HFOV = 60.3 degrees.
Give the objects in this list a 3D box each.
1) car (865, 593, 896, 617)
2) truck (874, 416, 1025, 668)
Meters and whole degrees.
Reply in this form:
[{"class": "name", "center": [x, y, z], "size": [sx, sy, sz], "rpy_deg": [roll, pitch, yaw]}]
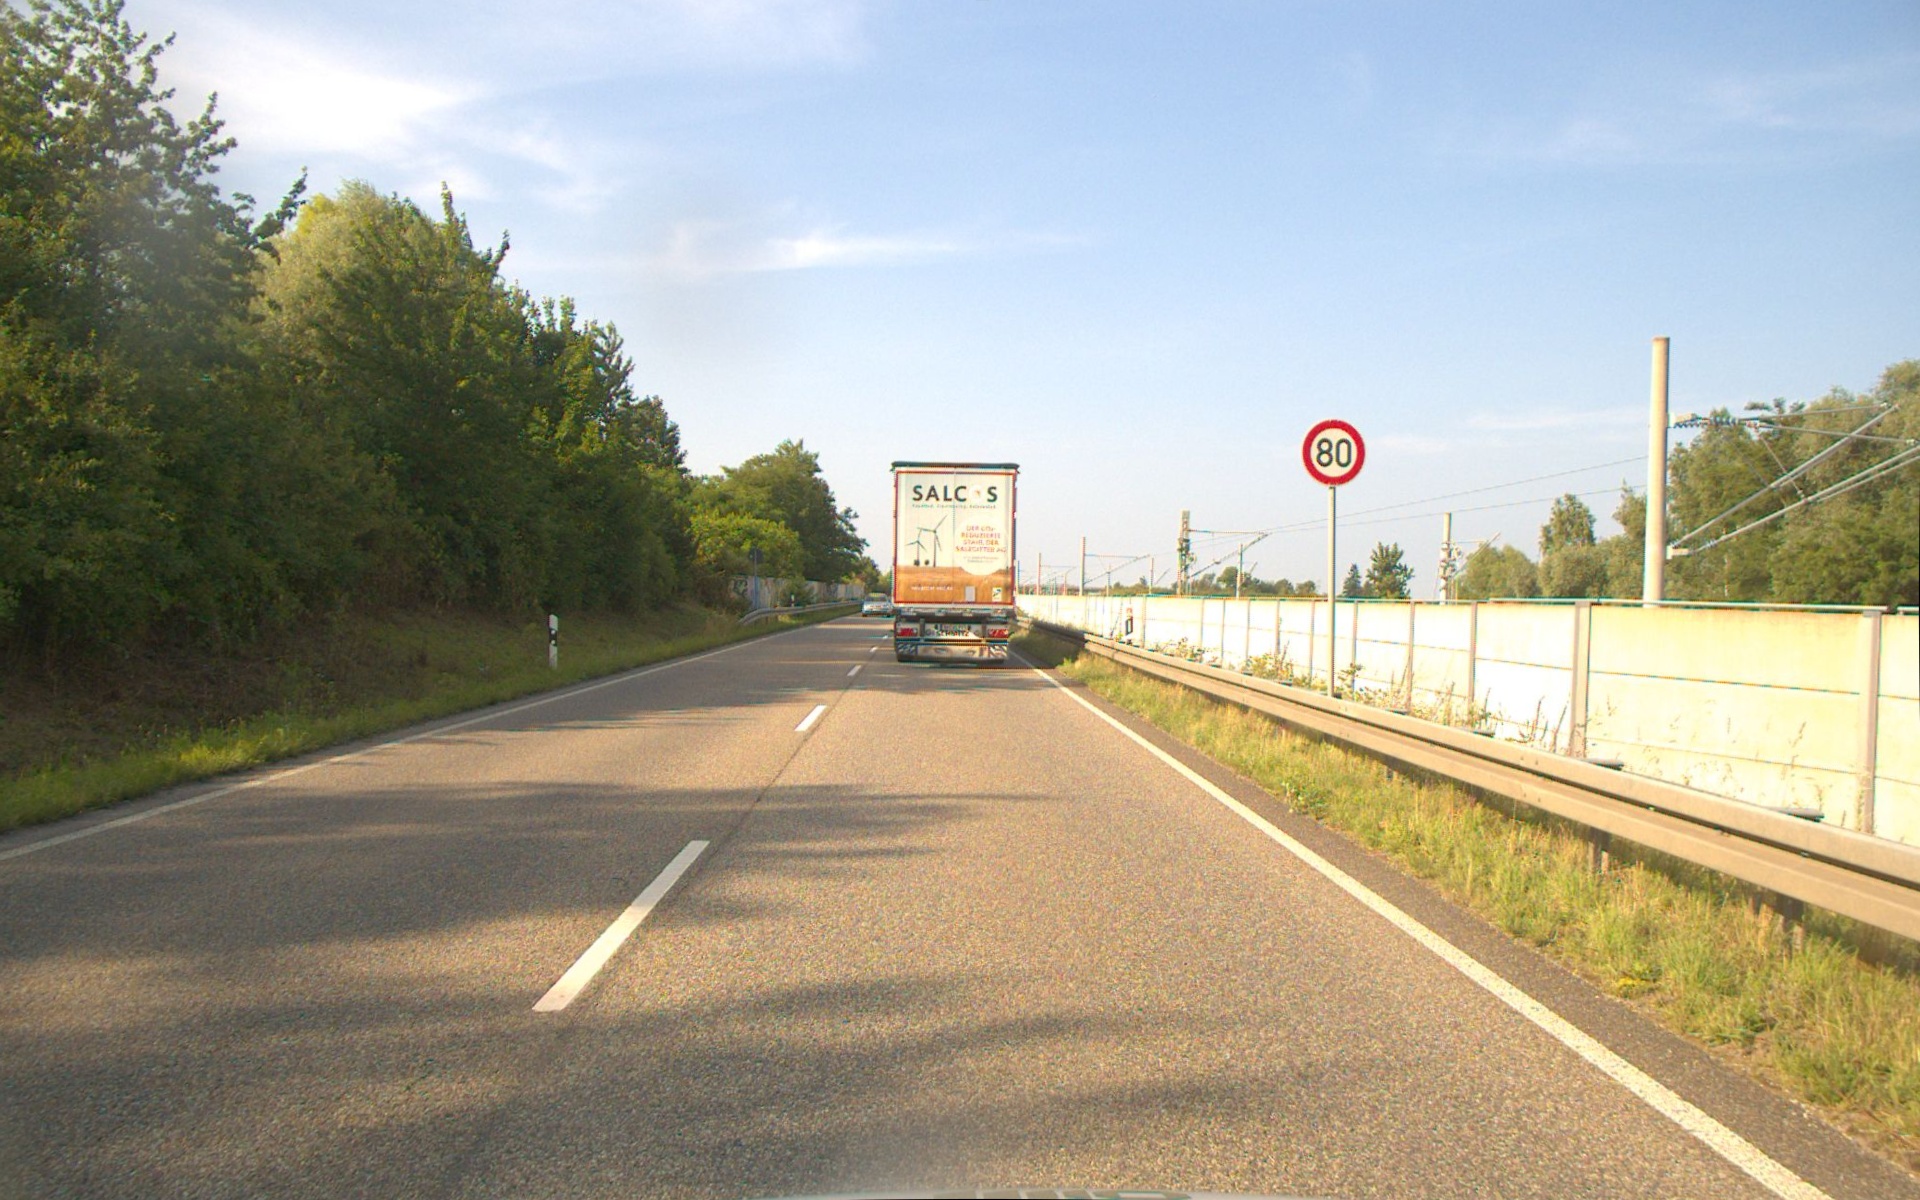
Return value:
[{"class": "car", "center": [-4.817, 0.330, 100.905], "size": [1.685, 1.418, 4.360], "rpy_deg": [1, 0, -1]}, {"class": "truck", "center": [-0.447, -1.198, 38.992], "size": [2.972, 5.006, 11.678], "rpy_deg": [1, 0, -2]}]
